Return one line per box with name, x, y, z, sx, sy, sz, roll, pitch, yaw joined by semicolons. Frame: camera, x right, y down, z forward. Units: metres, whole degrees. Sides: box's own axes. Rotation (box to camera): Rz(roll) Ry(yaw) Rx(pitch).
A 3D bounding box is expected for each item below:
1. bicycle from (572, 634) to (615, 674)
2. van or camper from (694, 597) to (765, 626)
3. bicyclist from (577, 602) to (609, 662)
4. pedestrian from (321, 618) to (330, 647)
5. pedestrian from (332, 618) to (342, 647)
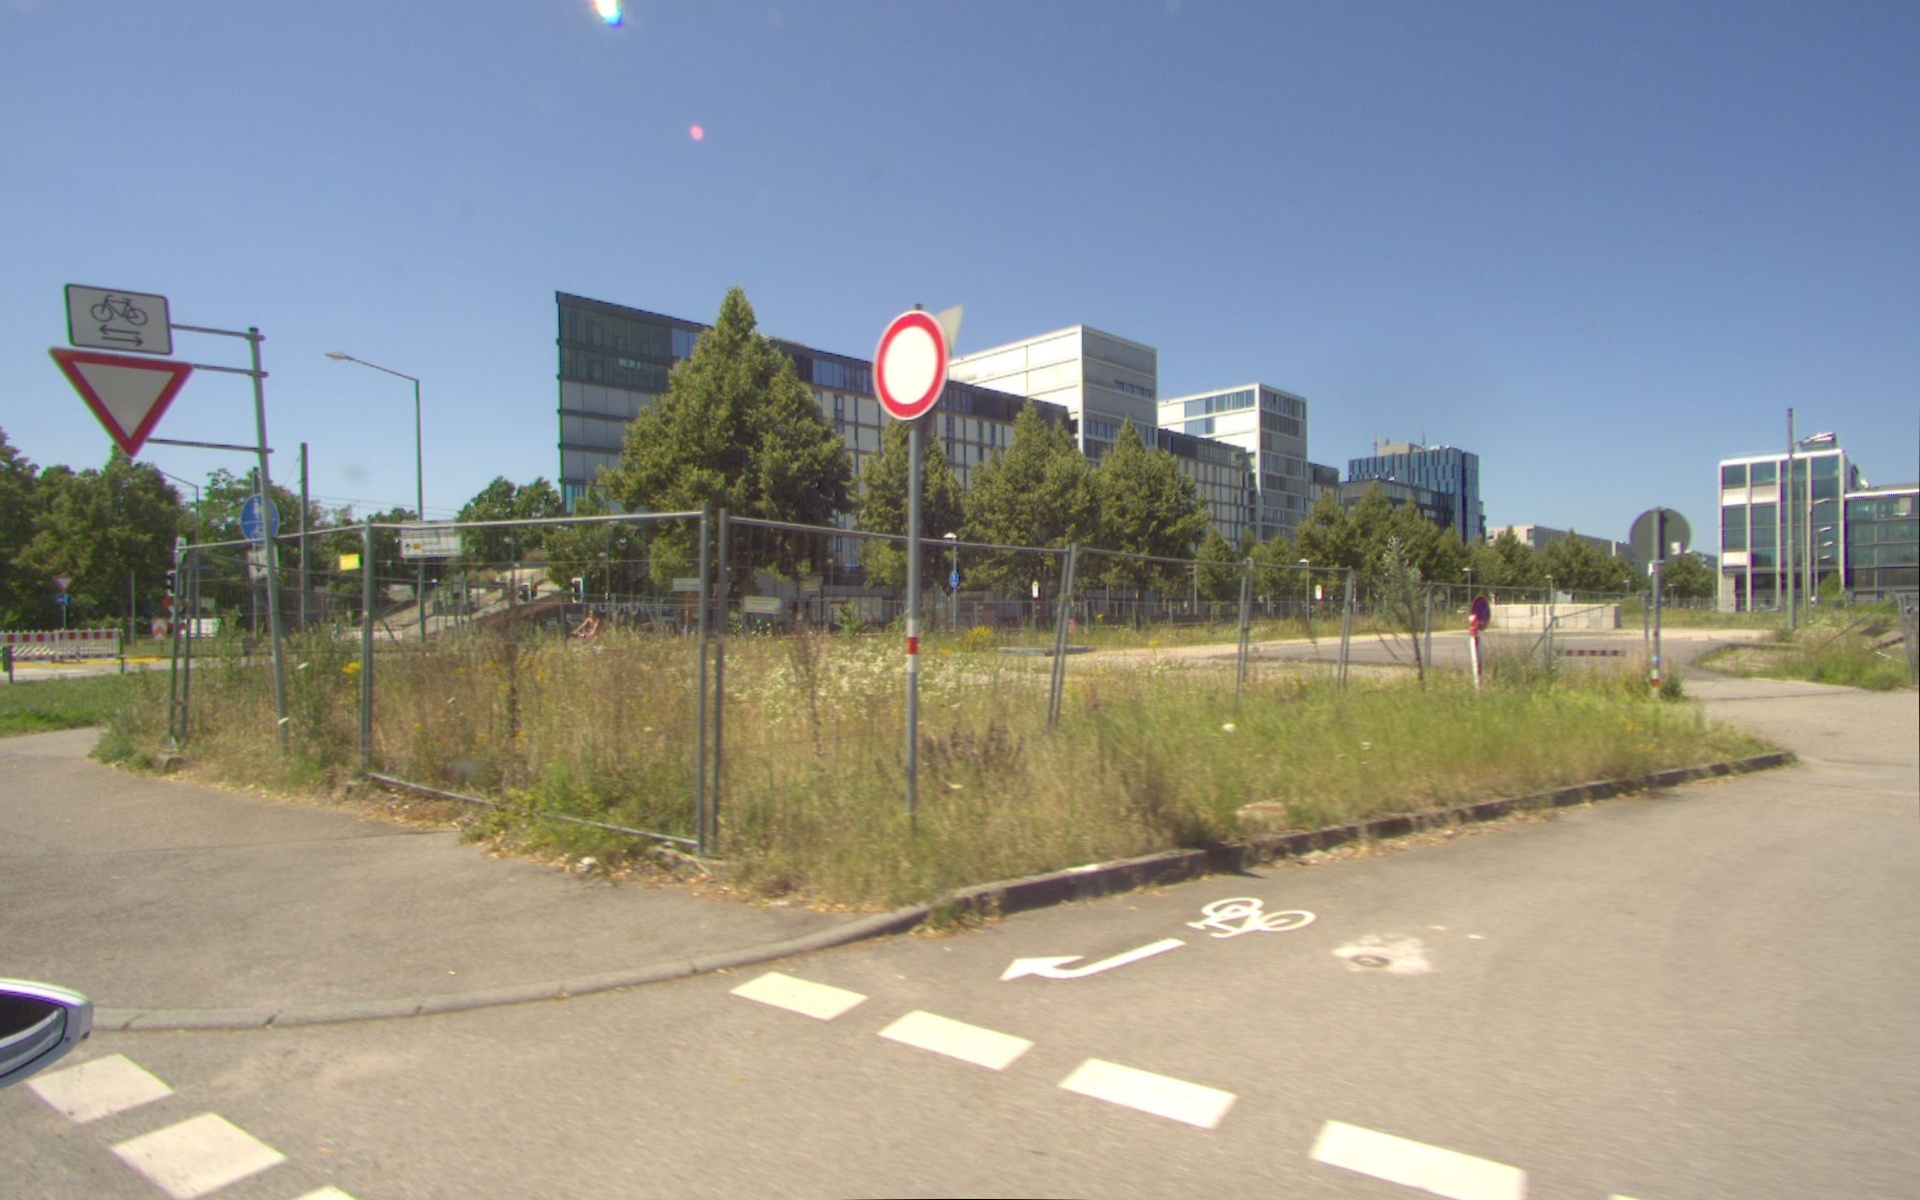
bicycle;-10.543;1.537;28.873;0.431;1.072;2.088;-1;-1;0
van or camper;-22.917;1.179;99.810;2.356;2.859;6.731;0;-1;42
bicyclist;-10.591;0.924;28.912;0.633;1.685;0.710;-2;0;0
pedestrian;-39.763;2.030;62.731;0.288;1.761;0.445;0;0;44
pedestrian;-39.333;2.047;63.205;0.314;1.761;0.445;0;0;44
